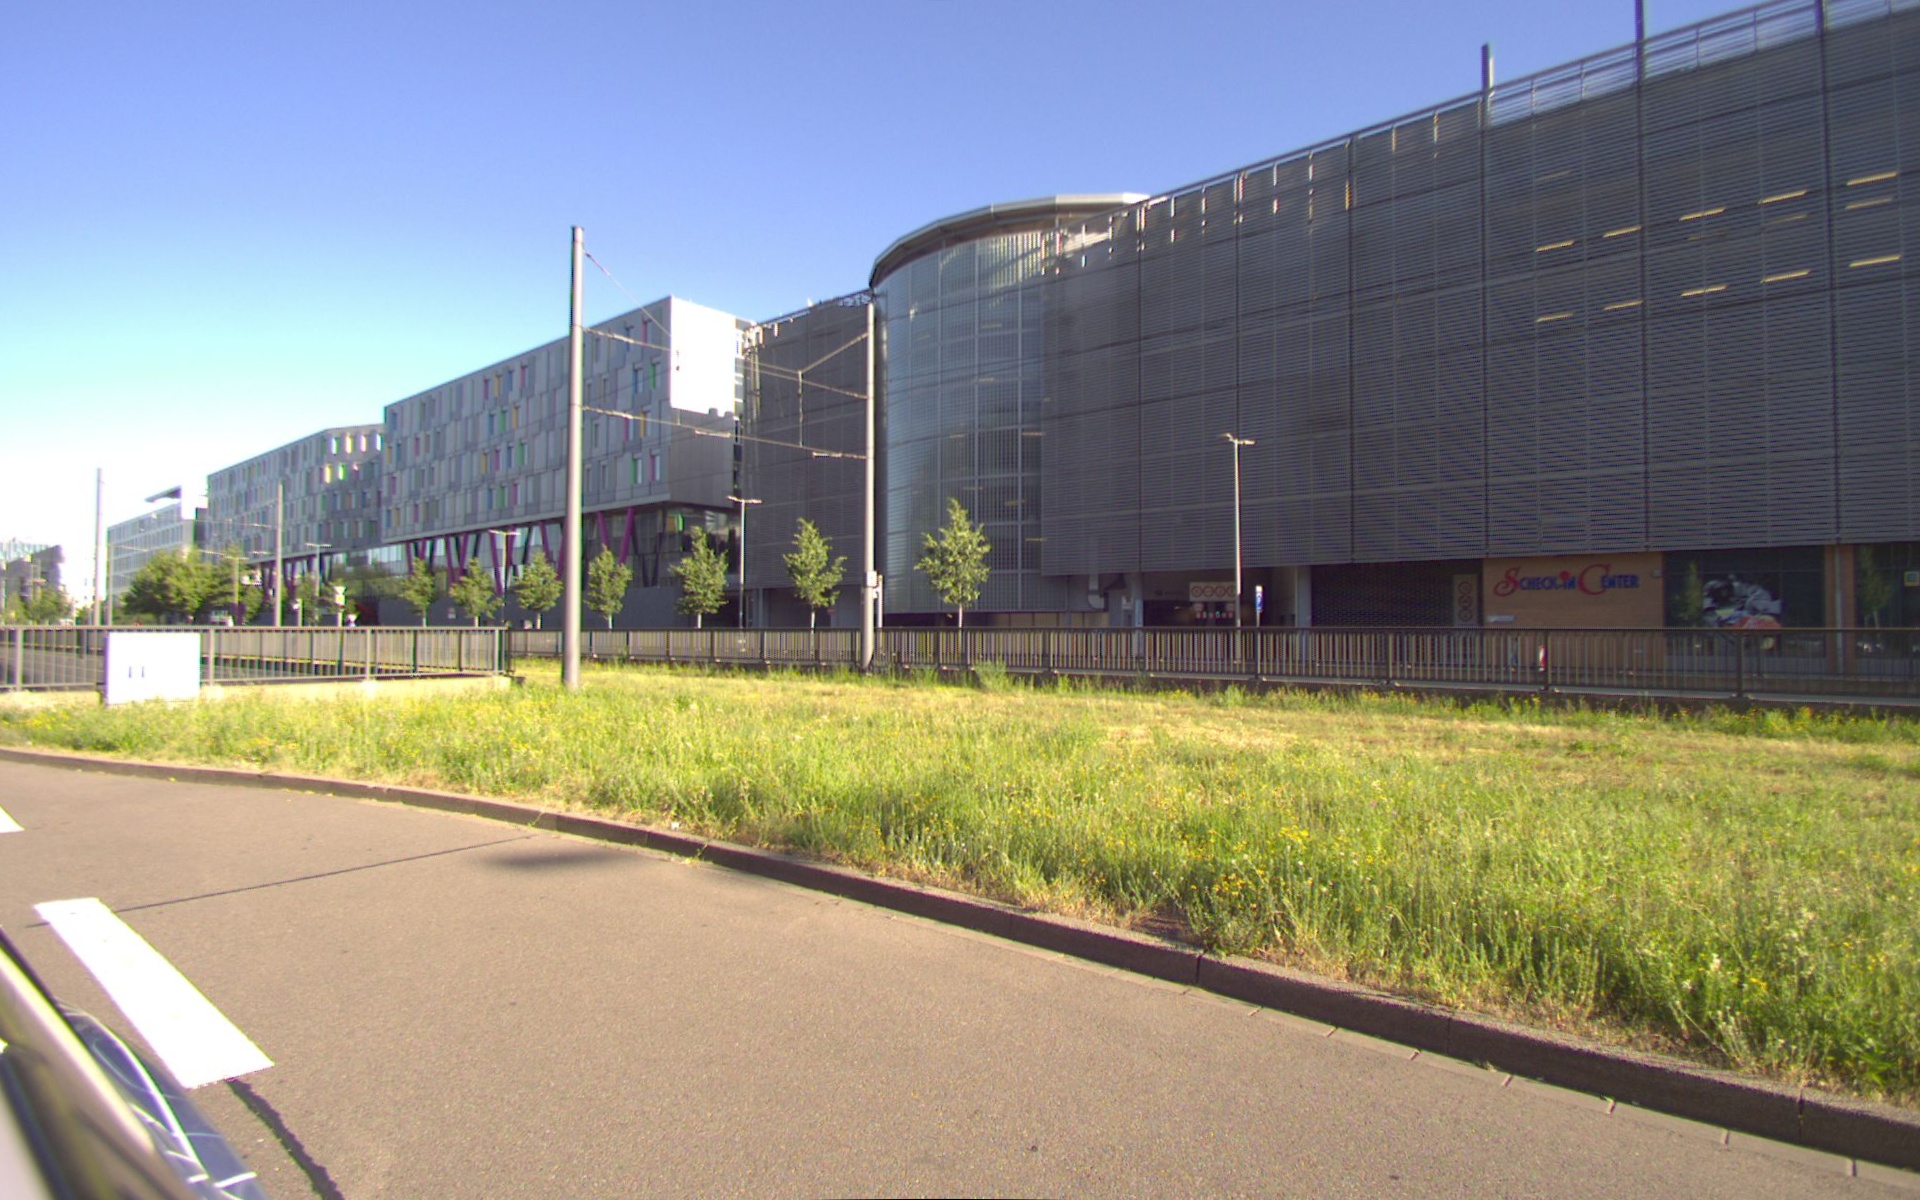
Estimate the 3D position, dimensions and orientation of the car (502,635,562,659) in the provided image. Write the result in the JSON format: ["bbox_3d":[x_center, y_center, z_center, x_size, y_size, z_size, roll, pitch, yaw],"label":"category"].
[{"bbox_3d":[-27.400,2.979,64.737,4.242,1.512,1.972,-2,-2,42],"label":"car"}]
